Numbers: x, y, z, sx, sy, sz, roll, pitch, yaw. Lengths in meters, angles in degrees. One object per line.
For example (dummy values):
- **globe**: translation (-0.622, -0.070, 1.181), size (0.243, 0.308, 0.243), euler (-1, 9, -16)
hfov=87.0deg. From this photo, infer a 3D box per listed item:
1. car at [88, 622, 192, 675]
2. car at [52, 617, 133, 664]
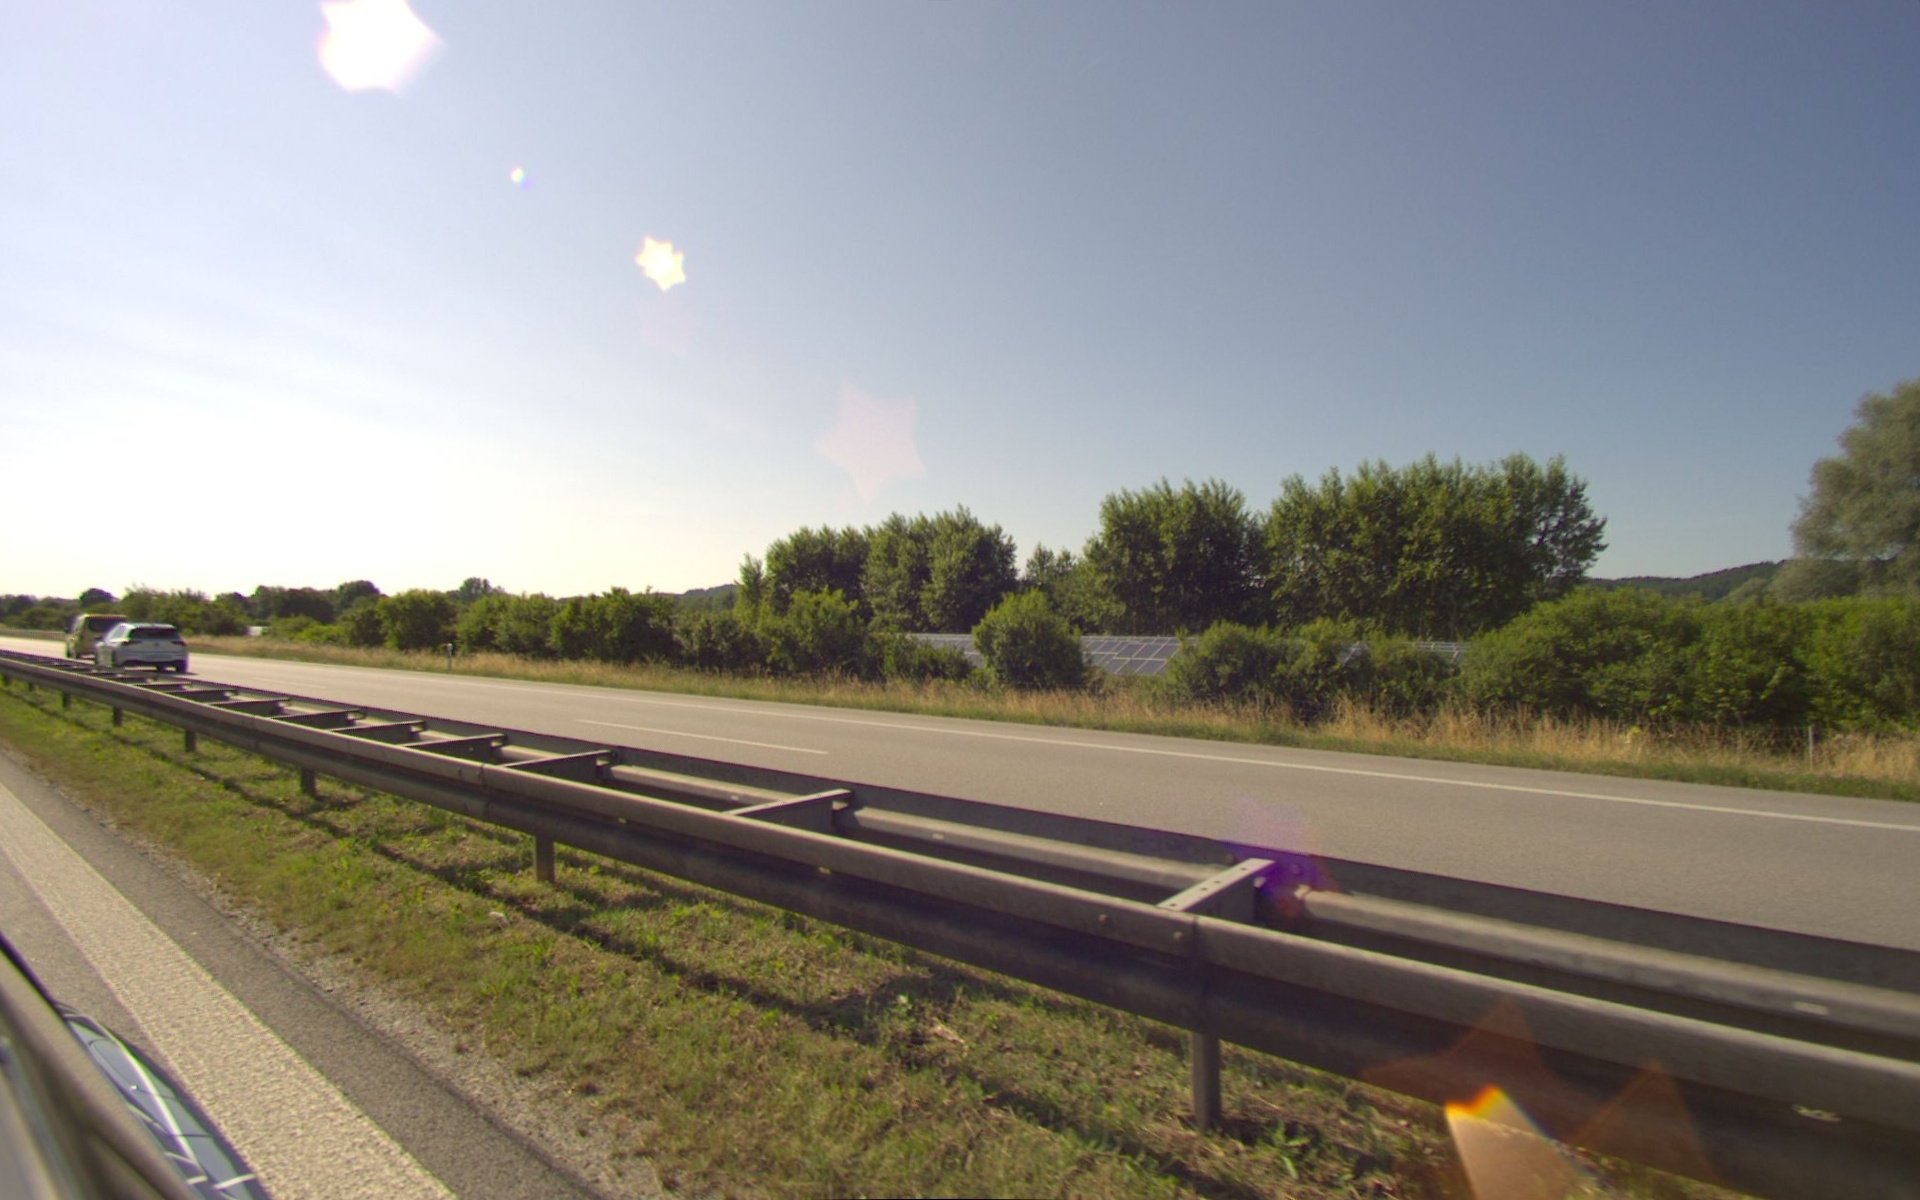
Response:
- **car**: translation (-24.823, 1.440, 30.597), size (4.470, 1.431, 1.747), euler (-1, -5, 43)
- **car**: translation (-35.889, 1.654, 41.838), size (4.748, 1.785, 1.928), euler (-1, -4, 43)
